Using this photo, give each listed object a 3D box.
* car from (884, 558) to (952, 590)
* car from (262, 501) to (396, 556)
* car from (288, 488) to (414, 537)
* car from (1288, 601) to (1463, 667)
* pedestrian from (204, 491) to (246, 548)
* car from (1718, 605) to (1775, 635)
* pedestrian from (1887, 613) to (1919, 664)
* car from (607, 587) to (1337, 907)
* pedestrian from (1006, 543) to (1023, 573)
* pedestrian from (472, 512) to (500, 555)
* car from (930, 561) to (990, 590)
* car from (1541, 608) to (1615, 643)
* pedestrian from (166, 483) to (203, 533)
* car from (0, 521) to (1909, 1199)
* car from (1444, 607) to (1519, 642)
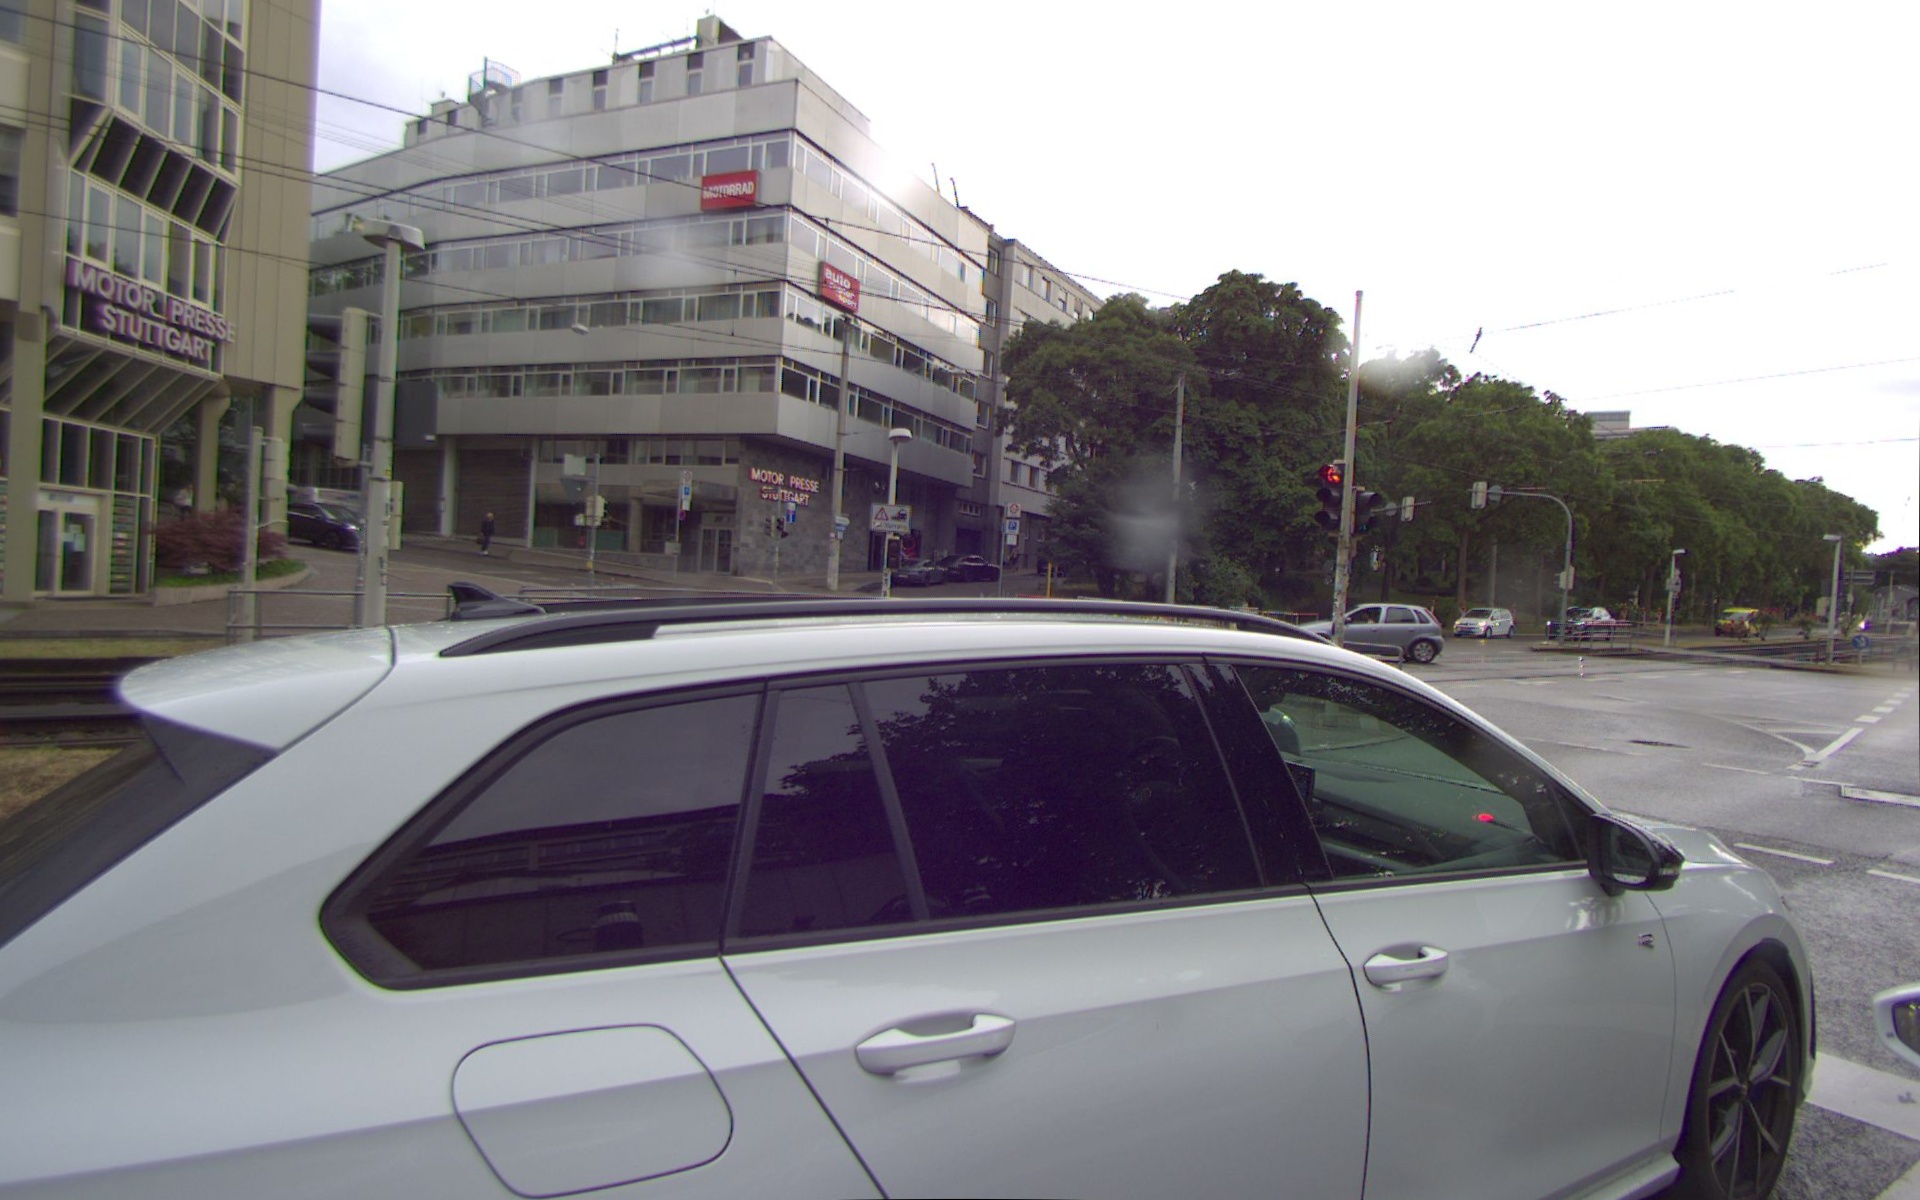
[{"bbox_3d":[-2.051,-1.289,50.614,1.842,1.450,4.091,3,2,22],"label":"car"},{"bbox_3d":[-24.581,-2.778,39.138,4.794,1.601,1.999,7,3,23],"label":"car"},{"bbox_3d":[-32.023,-4.535,52.999,1.964,2.040,5.403,2,0,30],"label":"car"},{"bbox_3d":[10.414,0.823,25.421,3.793,1.375,1.633,3,2,13],"label":"car"},{"bbox_3d":[-24.585,-2.678,33.624,0.746,1.811,0.830,5,2,25],"label":"pedestrian"},{"bbox_3d":[52.704,1.346,67.295,4.525,1.875,1.905,2,1,-38],"label":"car"},{"bbox_3d":[35.233,1.414,37.354,0.863,1.826,0.860,1,2,-33],"label":"pedestrian"},{"bbox_3d":[0.203,0.725,6.490,4.423,1.461,1.787,2,0,-30],"label":"car"},{"bbox_3d":[3.521,-2.685,64.834,0.707,1.886,0.758,5,4,31],"label":"pedestrian"},{"bbox_3d":[-21.465,-3.011,45.513,0.833,1.886,0.719,5,2,25],"label":"pedestrian"},{"bbox_3d":[0.039,-1.349,55.588,1.842,1.450,3.998,3,2,22],"label":"car"},{"bbox_3d":[30.666,1.257,49.825,3.648,1.566,1.905,2,1,-37],"label":"car"},{"bbox_3d":[-27.299,-3.223,35.363,0.746,1.661,0.719,5,2,25],"label":"pedestrian"},{"bbox_3d":[0.306,0.709,2.477,4.423,1.461,1.787,2,0,-30],"label":"car"},{"bbox_3d":[26.071,1.215,50.188,3.648,1.566,1.905,2,1,-37],"label":"car"}]
